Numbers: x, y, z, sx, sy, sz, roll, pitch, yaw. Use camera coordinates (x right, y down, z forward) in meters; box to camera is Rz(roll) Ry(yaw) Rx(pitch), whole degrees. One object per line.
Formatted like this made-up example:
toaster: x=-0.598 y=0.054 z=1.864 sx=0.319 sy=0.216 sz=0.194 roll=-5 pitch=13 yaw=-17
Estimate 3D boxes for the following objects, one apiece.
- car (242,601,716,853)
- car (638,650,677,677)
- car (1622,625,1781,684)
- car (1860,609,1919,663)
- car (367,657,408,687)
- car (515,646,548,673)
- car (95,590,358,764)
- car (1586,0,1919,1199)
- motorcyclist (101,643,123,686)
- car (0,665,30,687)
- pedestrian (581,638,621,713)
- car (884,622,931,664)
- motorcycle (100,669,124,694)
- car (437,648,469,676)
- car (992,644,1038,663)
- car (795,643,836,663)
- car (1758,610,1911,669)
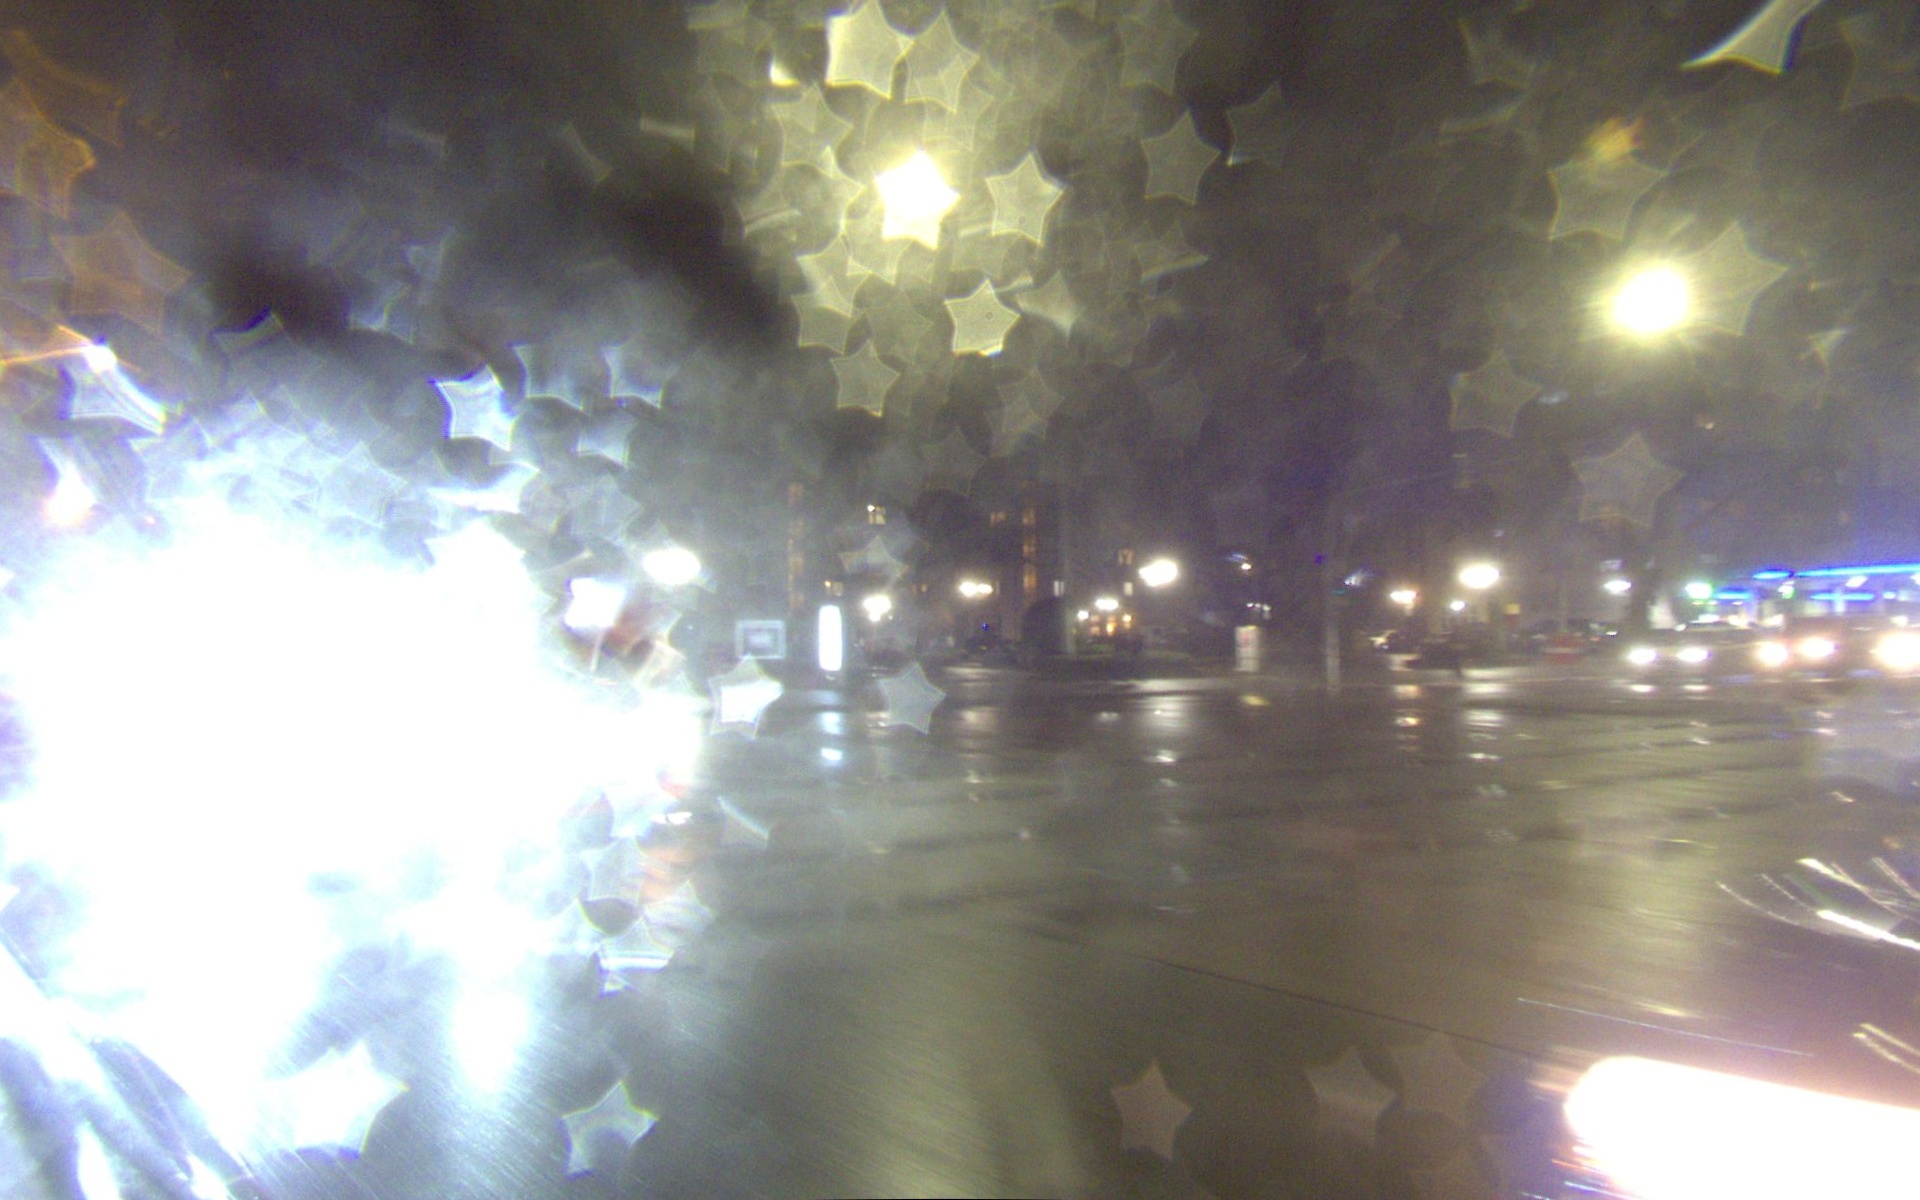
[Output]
car: x=-4.227 y=0.899 z=8.491 sx=4.722 sy=1.554 sz=1.799 roll=-3 pitch=-3 yaw=40
car: x=-18.434 y=3.825 z=61.618 sx=1.689 sy=1.532 sz=3.931 roll=0 pitch=-3 yaw=-25
car: x=21.673 y=1.571 z=29.591 sx=4.258 sy=1.581 sz=1.904 roll=0 pitch=-3 yaw=-26
car: x=33.135 y=1.230 z=34.530 sx=4.657 sy=1.756 sz=1.904 roll=0 pitch=-3 yaw=-26
car: x=-31.753 y=3.987 z=56.214 sx=1.689 sy=1.532 sz=3.931 roll=0 pitch=-3 yaw=-25
car: x=-29.533 y=4.095 z=69.692 sx=1.838 sy=1.774 sz=4.508 roll=0 pitch=-3 yaw=-26
car: x=-10.309 y=1.057 z=14.048 sx=5.200 sy=1.969 sz=2.011 roll=-5 pitch=-5 yaw=43
car: x=2.913 y=-0.064 z=0.763 sx=3.982 sy=1.554 sz=1.691 roll=-3 pitch=-3 yaw=37
motorcyclist: x=-40.944 y=3.126 z=48.869 sx=0.983 sy=2.029 sz=0.685 roll=-4 pitch=-4 yaw=44
car: x=-70.317 y=5.630 z=75.244 sx=1.579 sy=1.576 sz=4.383 roll=5 pitch=-6 yaw=-43
pedestrian: x=-8.679 y=1.806 z=24.501 sx=0.758 sy=1.749 sz=0.972 roll=-1 pitch=-3 yaw=-11
car: x=-3.636 y=2.950 z=69.386 sx=1.689 sy=2.752 sz=4.369 roll=0 pitch=-3 yaw=-25
motorcycle: x=-40.859 y=3.904 z=48.765 sx=0.693 sy=1.147 sz=2.176 roll=2 pitch=-4 yaw=-45
car: x=-33.870 y=4.126 z=67.654 sx=1.838 sy=1.808 sz=4.508 roll=0 pitch=-3 yaw=-26
car: x=4.510 y=4.448 z=83.760 sx=1.838 sy=1.454 sz=4.508 roll=0 pitch=-3 yaw=-26
car: x=-11.169 y=4.122 z=78.134 sx=1.838 sy=1.454 sz=4.508 roll=0 pitch=-3 yaw=-26
car: x=27.720 y=1.235 z=32.067 sx=4.657 sy=1.756 sz=1.904 roll=0 pitch=-3 yaw=-26
